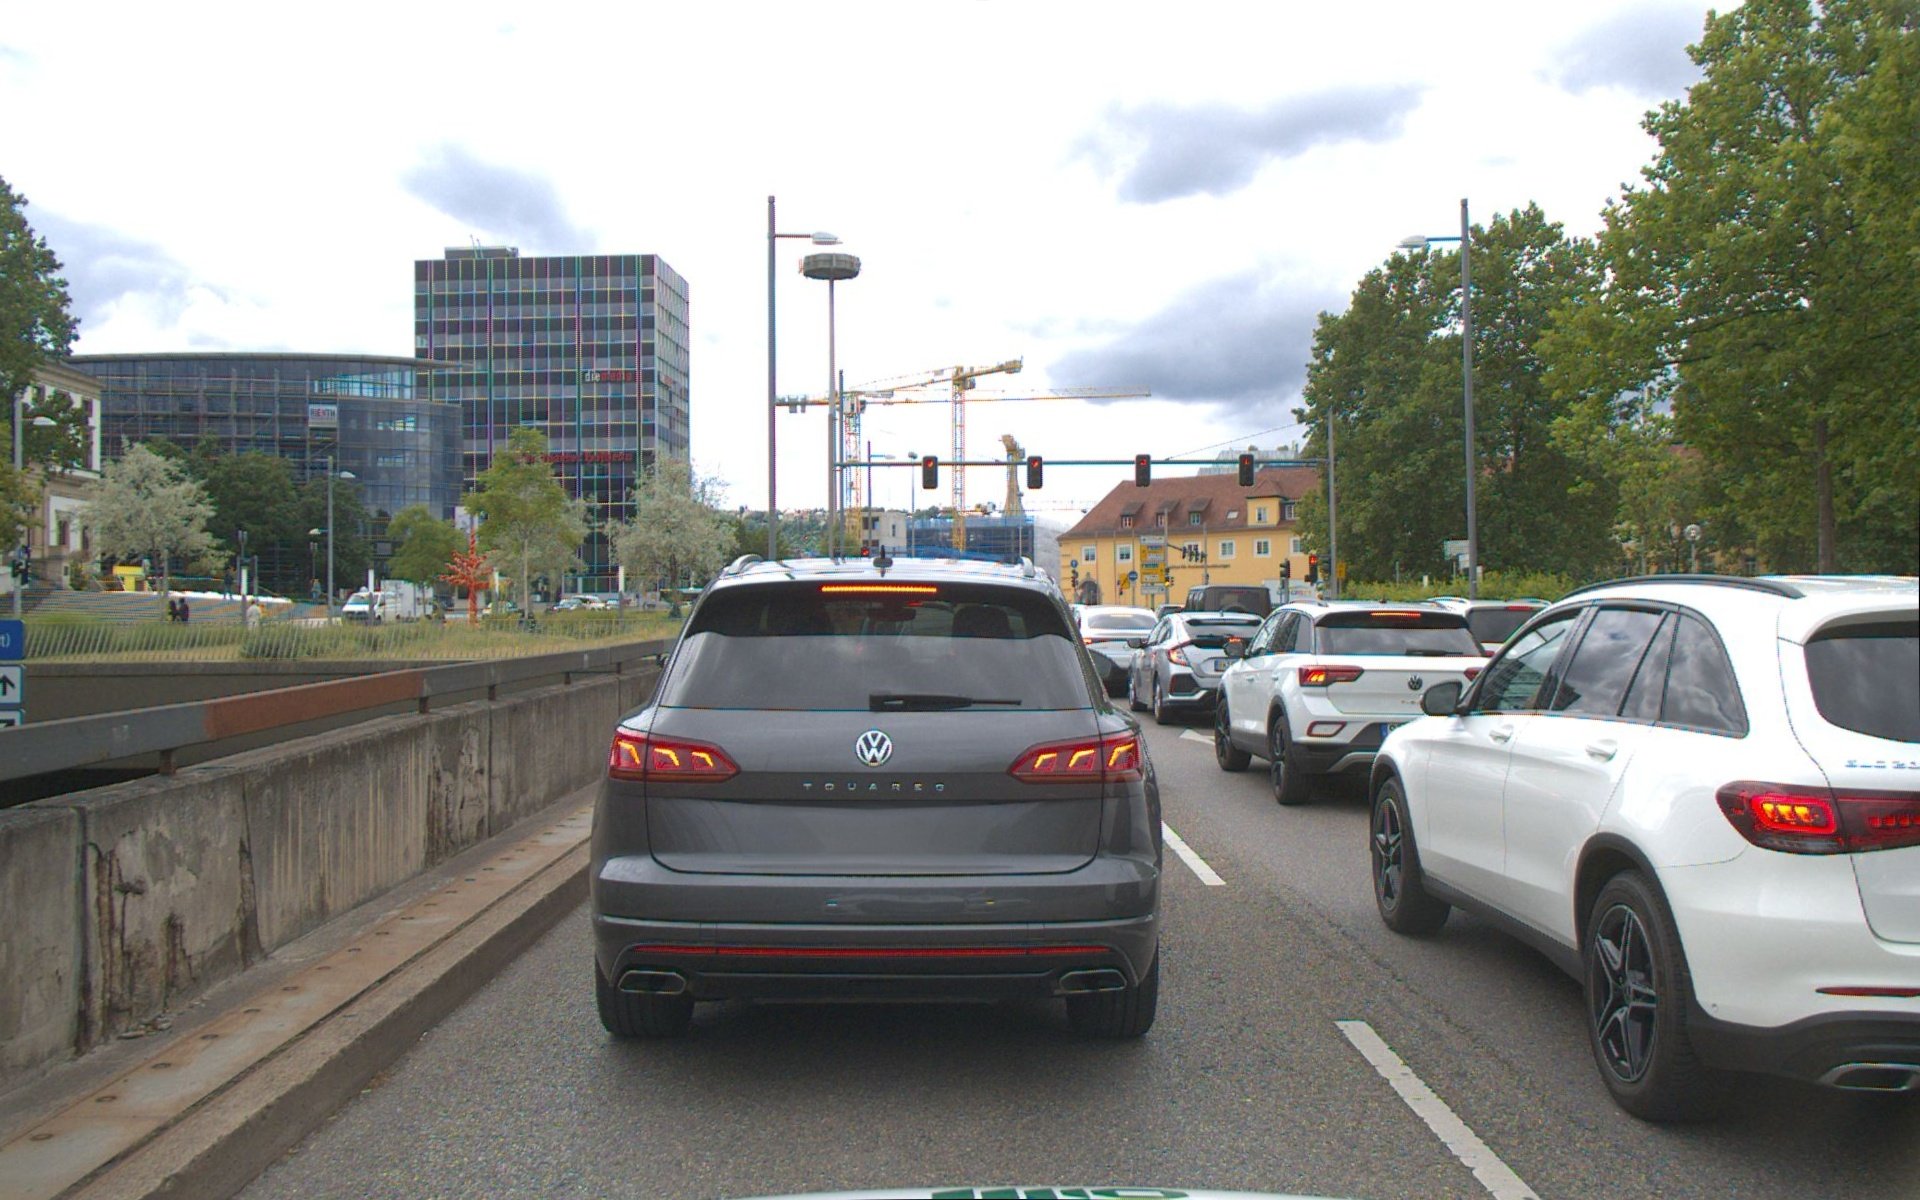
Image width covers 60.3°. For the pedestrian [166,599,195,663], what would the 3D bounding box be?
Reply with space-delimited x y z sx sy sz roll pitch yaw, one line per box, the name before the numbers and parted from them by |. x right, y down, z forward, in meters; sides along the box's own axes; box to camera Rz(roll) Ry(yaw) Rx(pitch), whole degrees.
pedestrian | -25.309 0.999 53.693 0.781 2.049 0.829 -1 1 -28

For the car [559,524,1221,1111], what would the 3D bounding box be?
car | -0.234 0.628 6.793 1.912 1.680 3.999 0 0 -1

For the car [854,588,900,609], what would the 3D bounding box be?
car | -8.537 -0.116 169.576 4.367 2.049 1.994 1 -2 33

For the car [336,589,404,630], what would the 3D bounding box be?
car | -31.720 0.466 89.058 1.953 2.048 4.692 0 1 0

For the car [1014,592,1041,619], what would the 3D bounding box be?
car | 4.535 0.397 111.527 1.586 1.656 3.999 2 -1 0

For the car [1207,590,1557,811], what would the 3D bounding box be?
car | 3.389 0.750 14.201 1.887 1.578 4.489 0 -1 0

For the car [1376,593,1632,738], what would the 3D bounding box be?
car | 6.834 0.749 21.281 1.952 1.668 4.305 0 0 1

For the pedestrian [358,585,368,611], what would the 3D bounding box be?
pedestrian | -47.074 -0.161 130.405 0.728 2.048 0.788 -1 1 -21

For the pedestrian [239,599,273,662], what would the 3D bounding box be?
pedestrian | -23.257 0.994 54.659 0.844 2.048 0.628 0 1 29

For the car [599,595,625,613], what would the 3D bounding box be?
car | -31.437 0.391 149.680 1.697 1.521 3.592 2 -1 -3

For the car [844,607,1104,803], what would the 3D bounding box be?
car | 0.074 0.797 14.357 1.912 1.408 3.930 2 0 -1

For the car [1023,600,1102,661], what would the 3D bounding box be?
car | 2.689 0.802 44.155 1.887 1.556 4.047 0 -1 0

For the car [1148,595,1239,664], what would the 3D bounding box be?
car | 6.284 0.779 44.871 1.871 1.727 4.012 2 -1 0

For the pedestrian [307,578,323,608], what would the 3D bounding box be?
pedestrian | -44.591 -0.472 114.368 0.724 2.048 1.113 -1 1 -6

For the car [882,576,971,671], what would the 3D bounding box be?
car | -0.772 0.522 38.658 1.912 2.053 3.930 2 0 -1

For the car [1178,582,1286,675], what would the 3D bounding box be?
car | 6.391 0.669 39.259 1.871 2.049 4.012 2 -1 0

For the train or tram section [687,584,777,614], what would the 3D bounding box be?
train or tram section | -24.971 -0.119 180.952 10.195 3.062 2.593 1 -2 28

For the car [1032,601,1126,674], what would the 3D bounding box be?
car | 2.668 0.840 37.867 1.887 1.556 4.047 0 -1 0

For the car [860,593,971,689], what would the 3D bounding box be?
car | -0.813 0.721 30.997 1.912 1.627 3.930 2 0 -1

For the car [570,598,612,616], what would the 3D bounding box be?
car | -36.409 0.678 163.306 4.142 1.631 1.746 1 -1 36

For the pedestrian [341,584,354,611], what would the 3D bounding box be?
pedestrian | -47.492 -0.222 128.247 0.723 2.048 0.793 -1 1 0

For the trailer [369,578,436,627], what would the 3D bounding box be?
trailer | -31.684 0.114 94.162 1.996 2.650 5.507 2 1 -1

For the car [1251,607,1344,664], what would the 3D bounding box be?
car | 9.330 0.960 46.005 1.722 1.472 3.632 2 -1 -2

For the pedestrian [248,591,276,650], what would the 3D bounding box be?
pedestrian | -24.846 0.731 58.874 0.716 2.047 0.628 -1 5 -8

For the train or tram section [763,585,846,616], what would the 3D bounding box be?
train or tram section | -16.608 0.020 176.508 8.750 3.062 2.593 1 -2 28

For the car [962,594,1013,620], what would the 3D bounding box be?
car | 2.270 0.597 137.187 3.927 2.049 1.924 0 -2 41

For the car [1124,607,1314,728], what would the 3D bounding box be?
car | 3.372 0.843 22.332 1.887 1.457 4.489 0 -1 0

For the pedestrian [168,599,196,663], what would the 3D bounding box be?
pedestrian | -25.621 1.009 54.476 0.781 2.049 0.829 -1 1 -28

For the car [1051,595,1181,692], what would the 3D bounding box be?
car | 2.655 0.736 29.047 1.887 1.556 4.489 0 -1 0

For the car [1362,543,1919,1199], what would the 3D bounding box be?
car | 3.003 0.676 6.283 1.887 1.682 4.490 0 1 0
